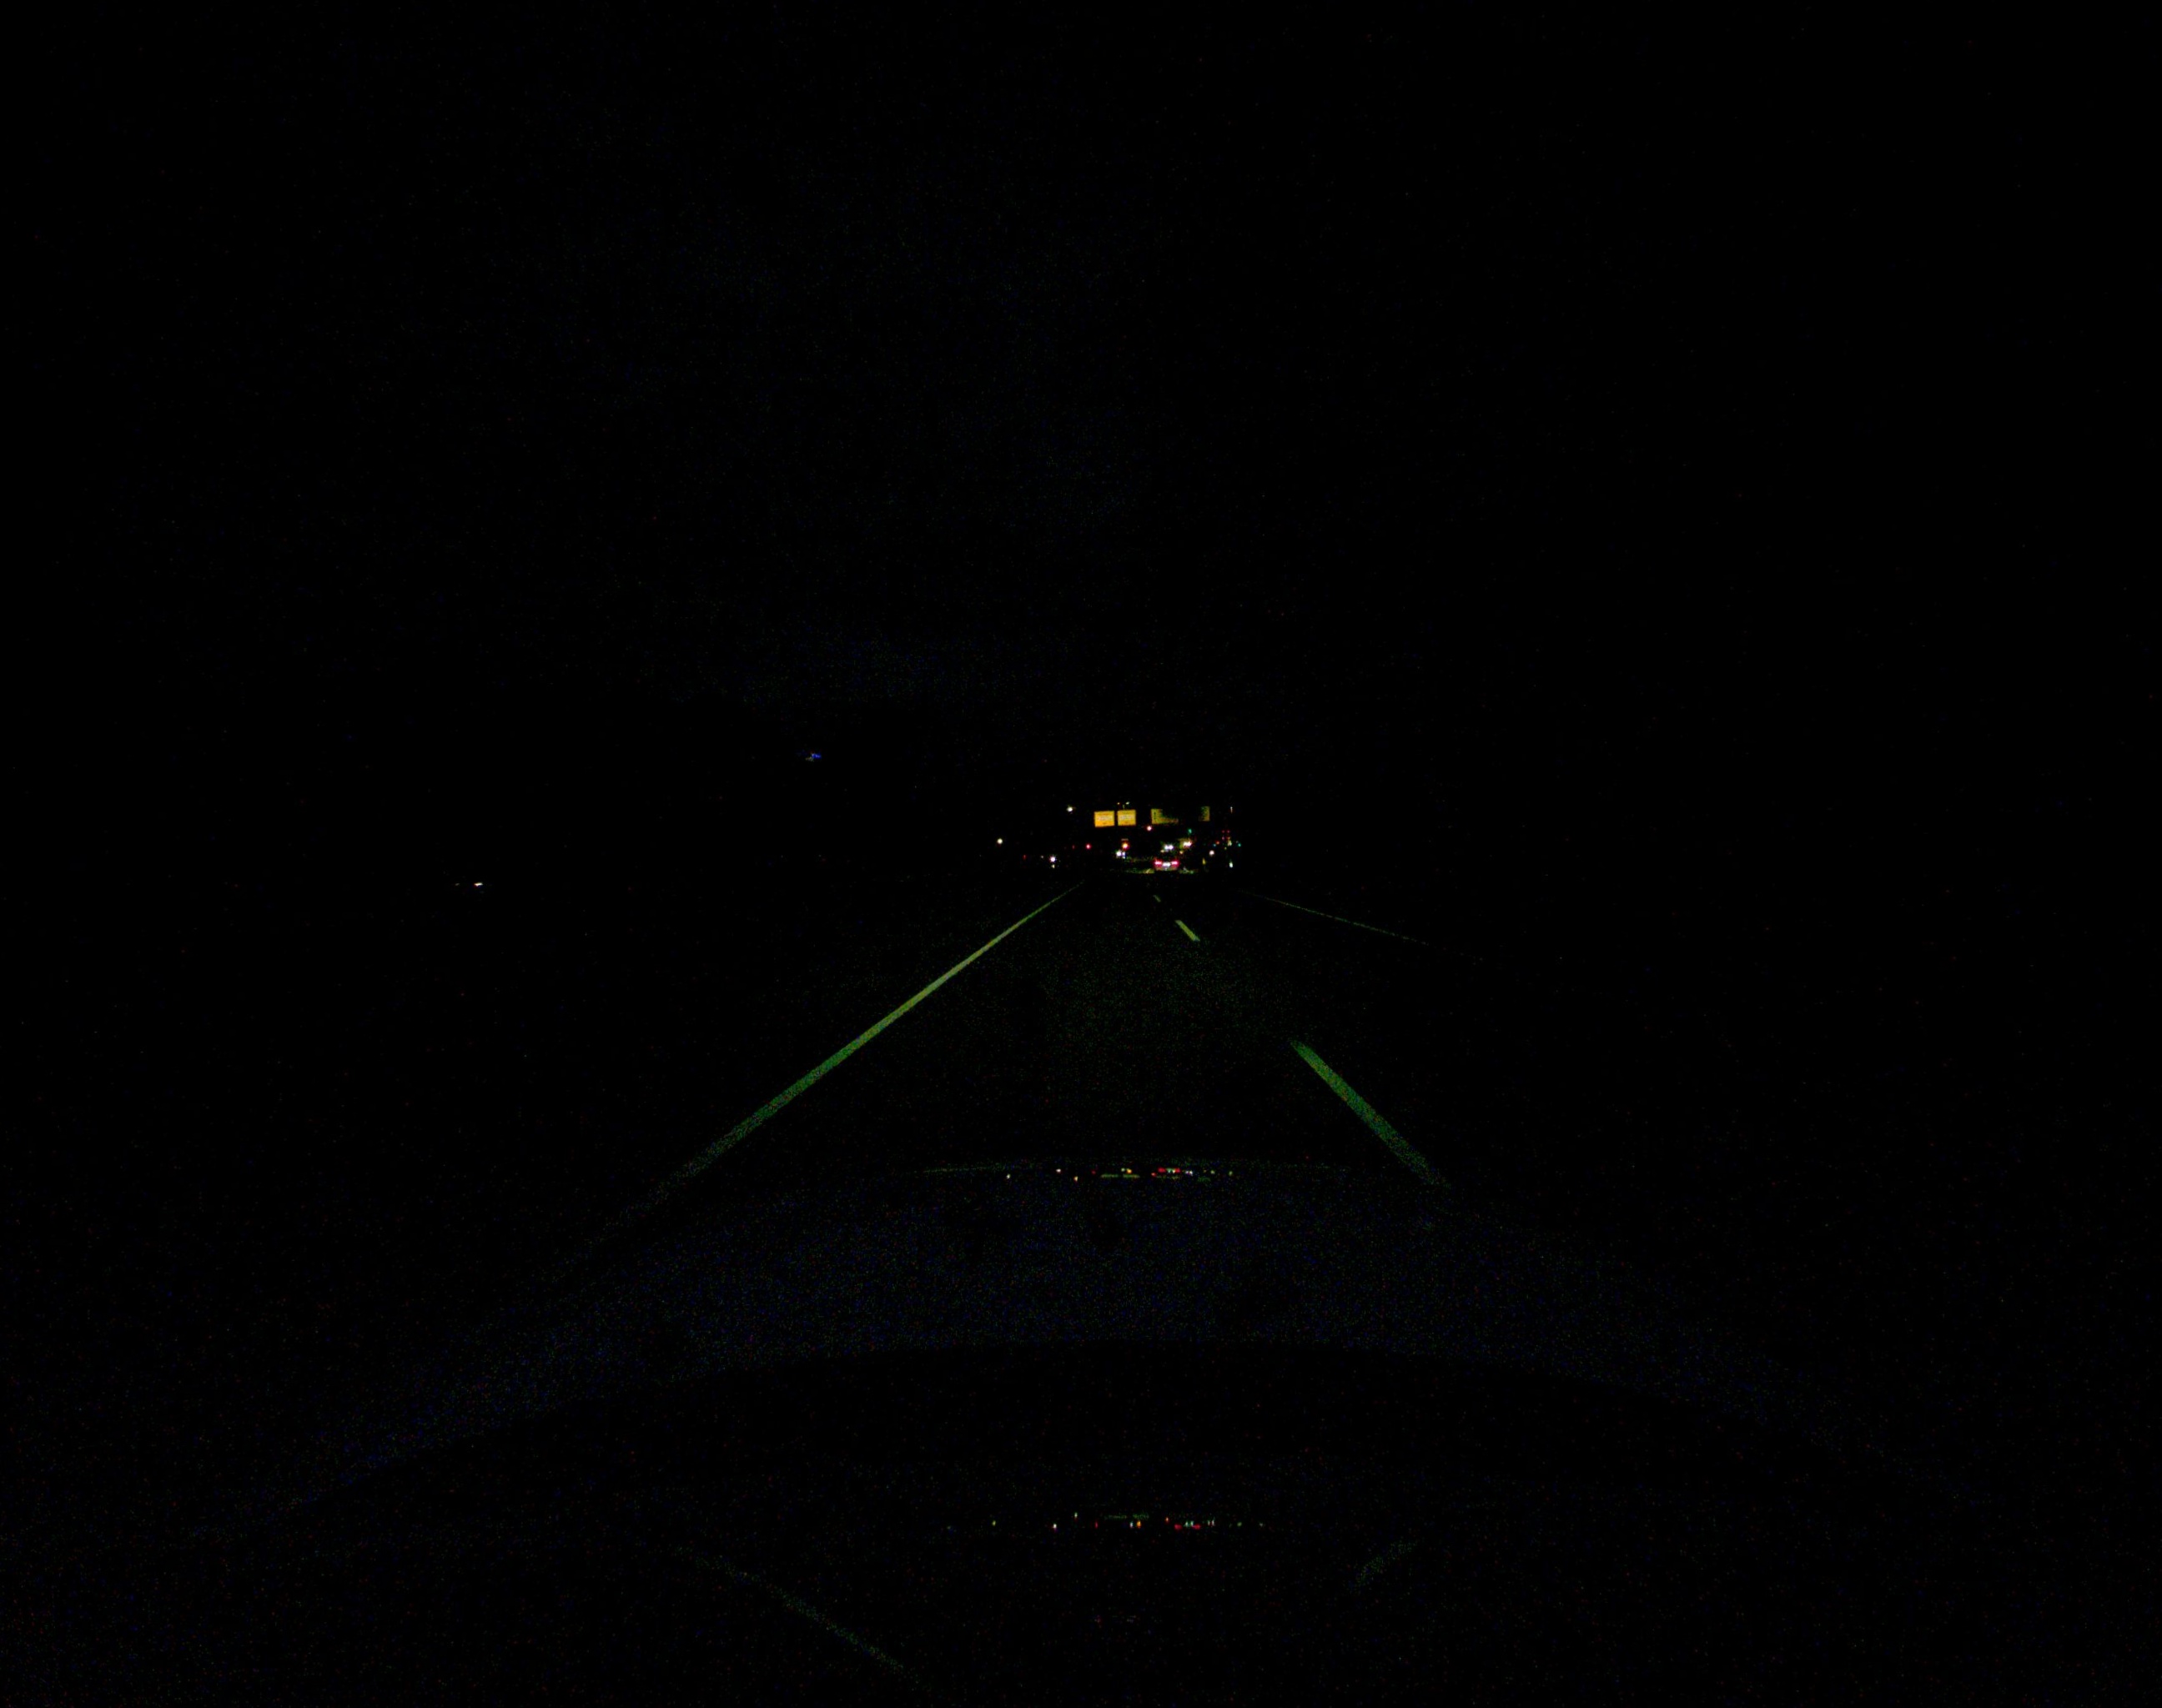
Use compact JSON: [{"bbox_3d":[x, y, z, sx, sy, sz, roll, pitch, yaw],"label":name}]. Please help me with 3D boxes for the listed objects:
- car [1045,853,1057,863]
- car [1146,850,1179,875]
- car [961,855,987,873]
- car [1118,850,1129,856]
[{"bbox_3d":[-4.946,0.604,135.758,1.694,1.623,4.309,-1,0,2],"label":"car"},{"bbox_3d":[5.950,0.599,59.661,2.001,1.611,3.845,-4,0,1],"label":"car"},{"bbox_3d":[-10.468,0.974,79.908,1.764,1.641,4.661,-4,0,0],"label":"car"},{"bbox_3d":[10.716,-0.269,204.463,1.980,1.425,4.547,-1,1,12],"label":"car"}]
